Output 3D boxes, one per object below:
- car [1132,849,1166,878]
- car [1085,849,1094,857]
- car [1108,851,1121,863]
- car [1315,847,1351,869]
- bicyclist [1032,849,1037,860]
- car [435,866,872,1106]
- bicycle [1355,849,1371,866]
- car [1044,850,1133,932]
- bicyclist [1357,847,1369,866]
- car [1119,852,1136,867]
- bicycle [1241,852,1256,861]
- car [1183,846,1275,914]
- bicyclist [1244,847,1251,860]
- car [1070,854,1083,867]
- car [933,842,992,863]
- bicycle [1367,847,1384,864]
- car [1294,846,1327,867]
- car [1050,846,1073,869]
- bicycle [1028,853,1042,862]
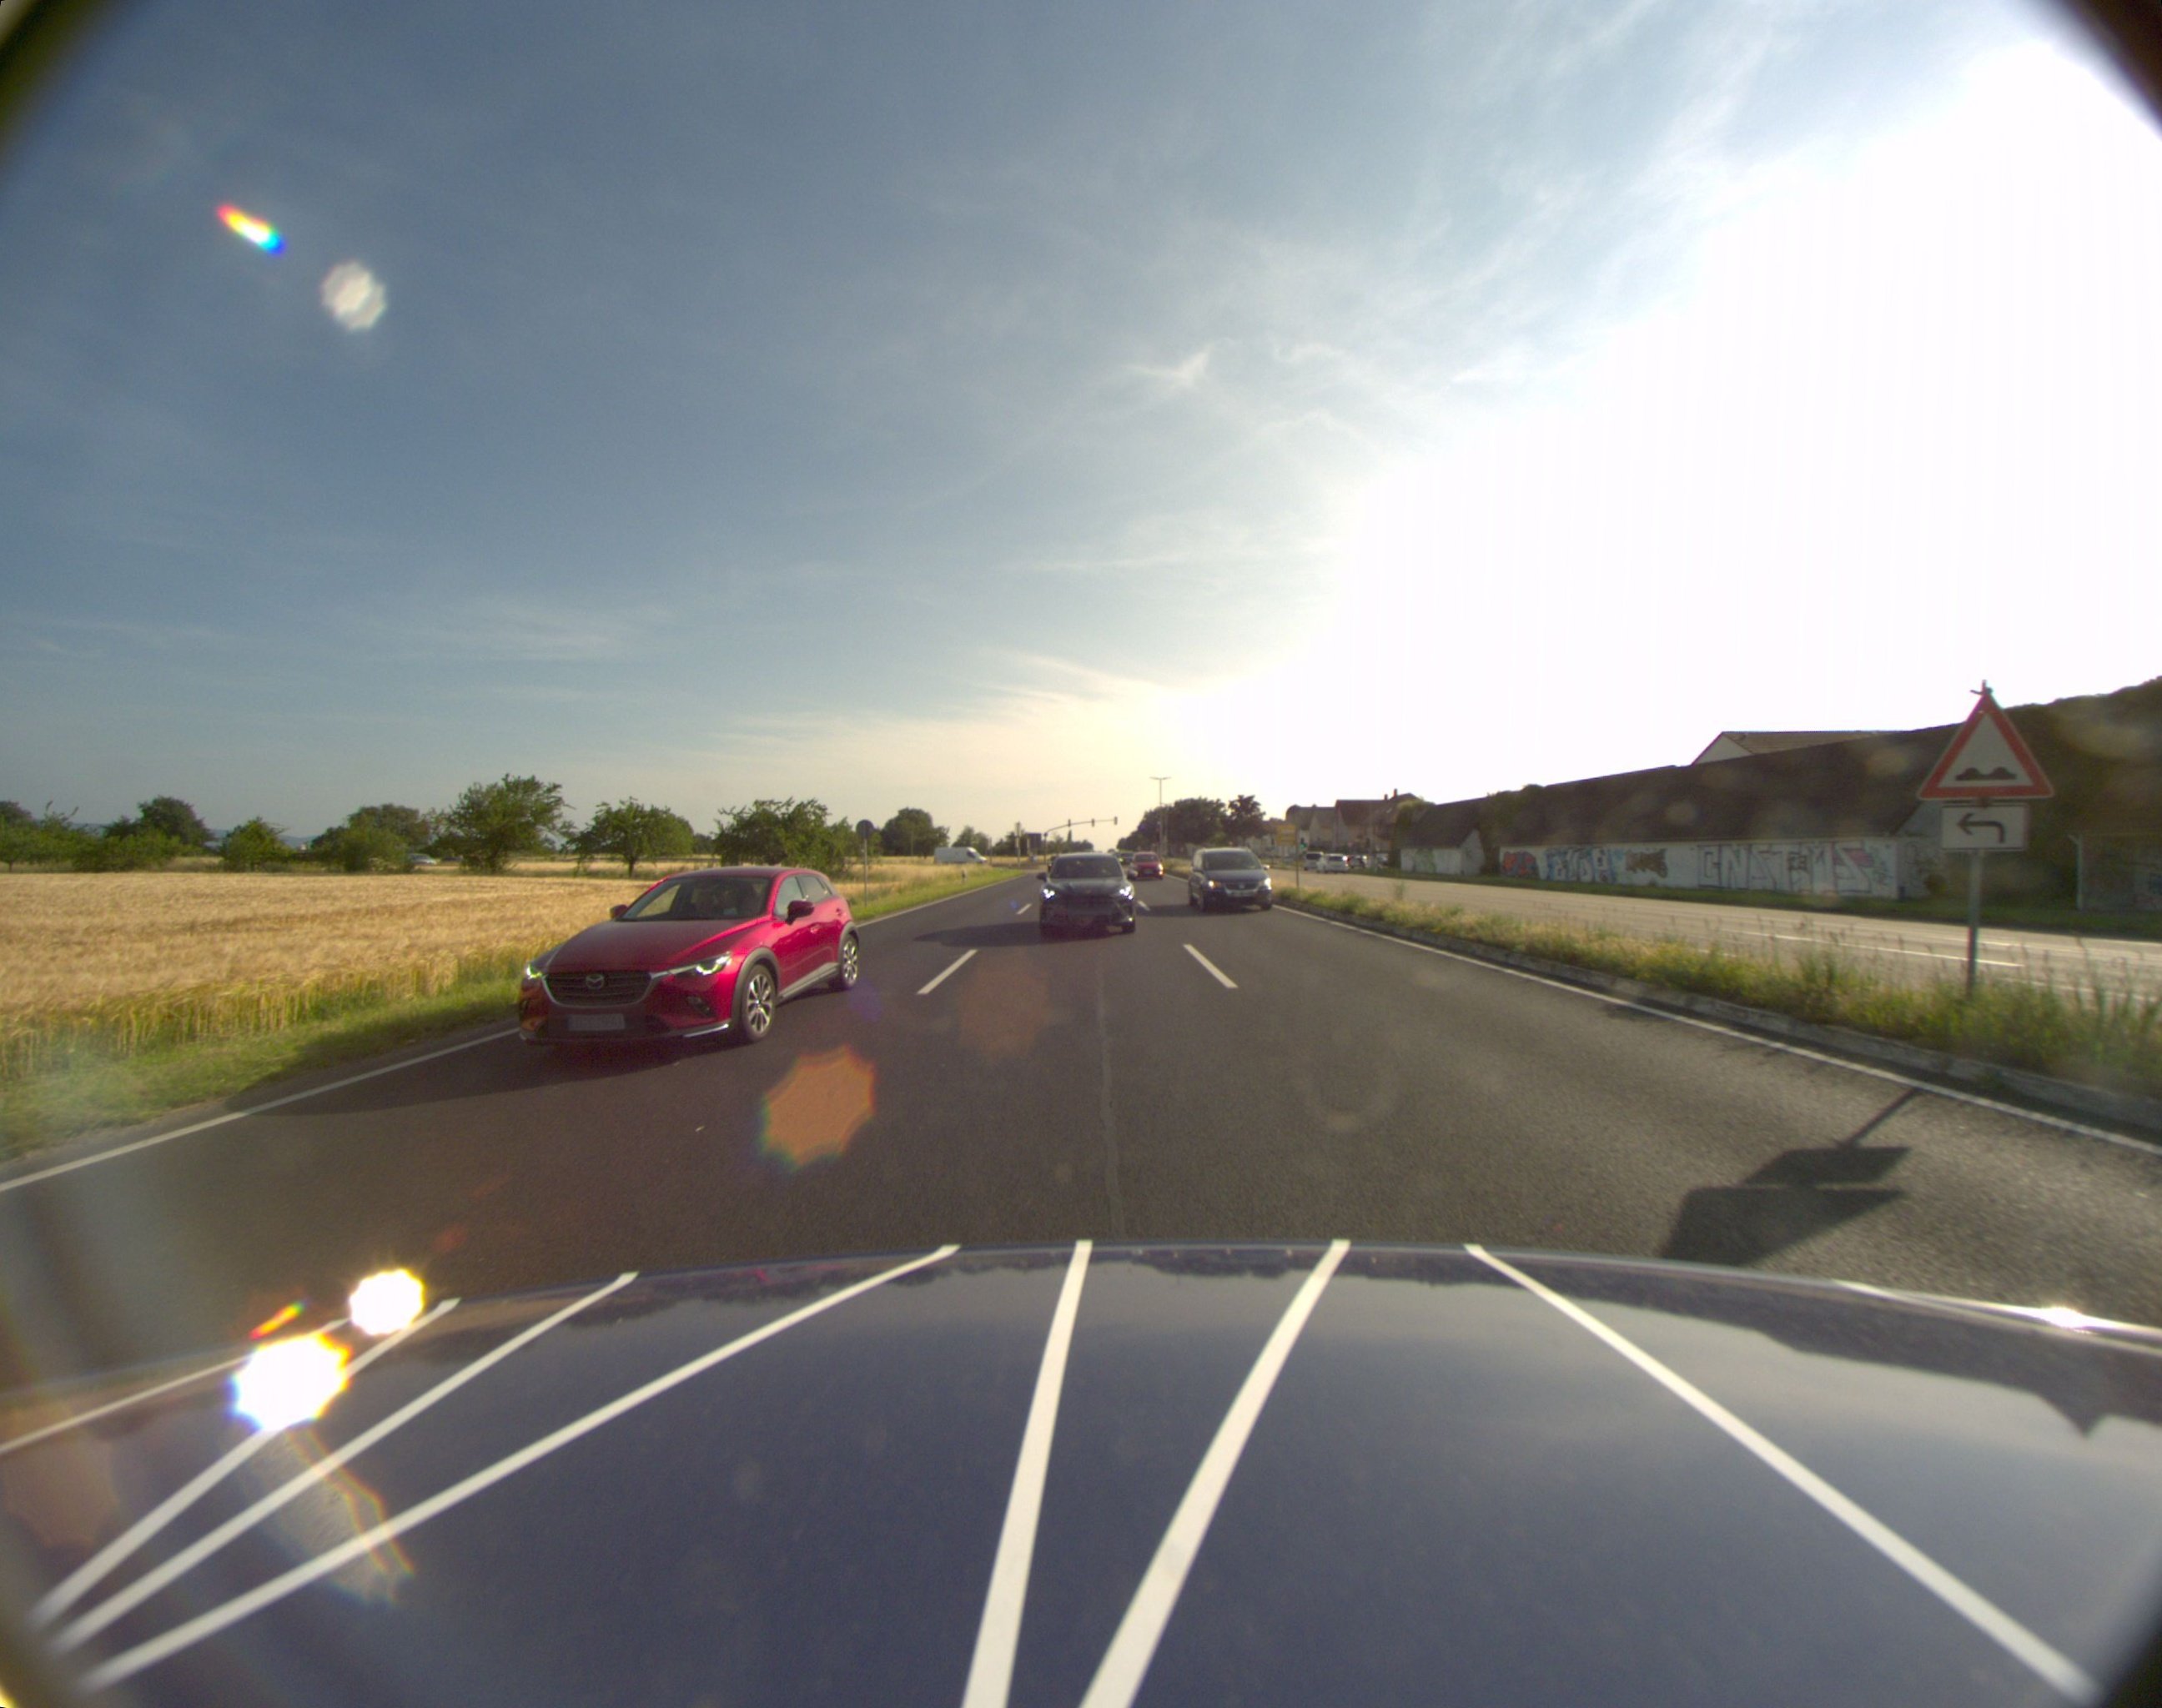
[{"bbox_3d":[3.975,0.516,44.797,1.748,1.537,4.000,-2,1,2],"label":"car"},{"bbox_3d":[2.248,-0.268,194.765,1.999,2.002,3.998,-2,1,-2],"label":"car"},{"bbox_3d":[6.093,0.479,139.471,1.999,2.002,3.998,-2,1,-2],"label":"car"},{"bbox_3d":[21.582,0.308,65.258,1.840,1.697,4.758,2,1,4],"label":"car"},{"bbox_3d":[-6.824,0.130,111.177,0.560,1.603,0.504,-2,2,7],"label":"bicyclist"},{"bbox_3d":[-3.616,0.965,7.587,1.708,1.497,4.500,-2,1,1],"label":"car"},{"bbox_3d":[29.361,0.347,79.169,0.755,1.739,2.607,-2,1,2],"label":"bicycle"},{"bbox_3d":[0.224,0.760,17.995,1.791,1.594,4.339,-2,1,2],"label":"car"},{"bbox_3d":[29.329,0.239,79.039,0.772,2.002,1.062,-2,1,1],"label":"bicyclist"},{"bbox_3d":[5.118,0.638,84.506,1.718,1.521,4.000,-2,1,2],"label":"car"},{"bbox_3d":[24.482,0.386,111.070,2.159,1.185,0.904,1,2,10],"label":"bicycle"},{"bbox_3d":[3.975,0.620,21.124,1.777,1.612,4.681,-1,1,2],"label":"car"},{"bbox_3d":[24.282,-0.105,111.069,0.856,1.777,0.847,2,2,9],"label":"bicyclist"},{"bbox_3d":[-0.784,1.109,133.908,1.998,2.002,3.999,-2,1,1],"label":"car"},{"bbox_3d":[-15.291,-0.243,98.118,7.201,2.654,2.094,0,2,15],"label":"car"},{"bbox_3d":[30.485,0.129,78.616,0.755,1.739,2.607,-2,1,2],"label":"bicycle"},{"bbox_3d":[23.213,0.193,77.044,1.911,1.917,5.454,2,1,3],"label":"car"},{"bbox_3d":[-1.822,0.309,71.225,1.999,2.002,3.999,-2,1,-1],"label":"car"},{"bbox_3d":[-6.751,0.523,111.171,1.857,1.282,0.529,-2,1,4],"label":"bicycle"}]
